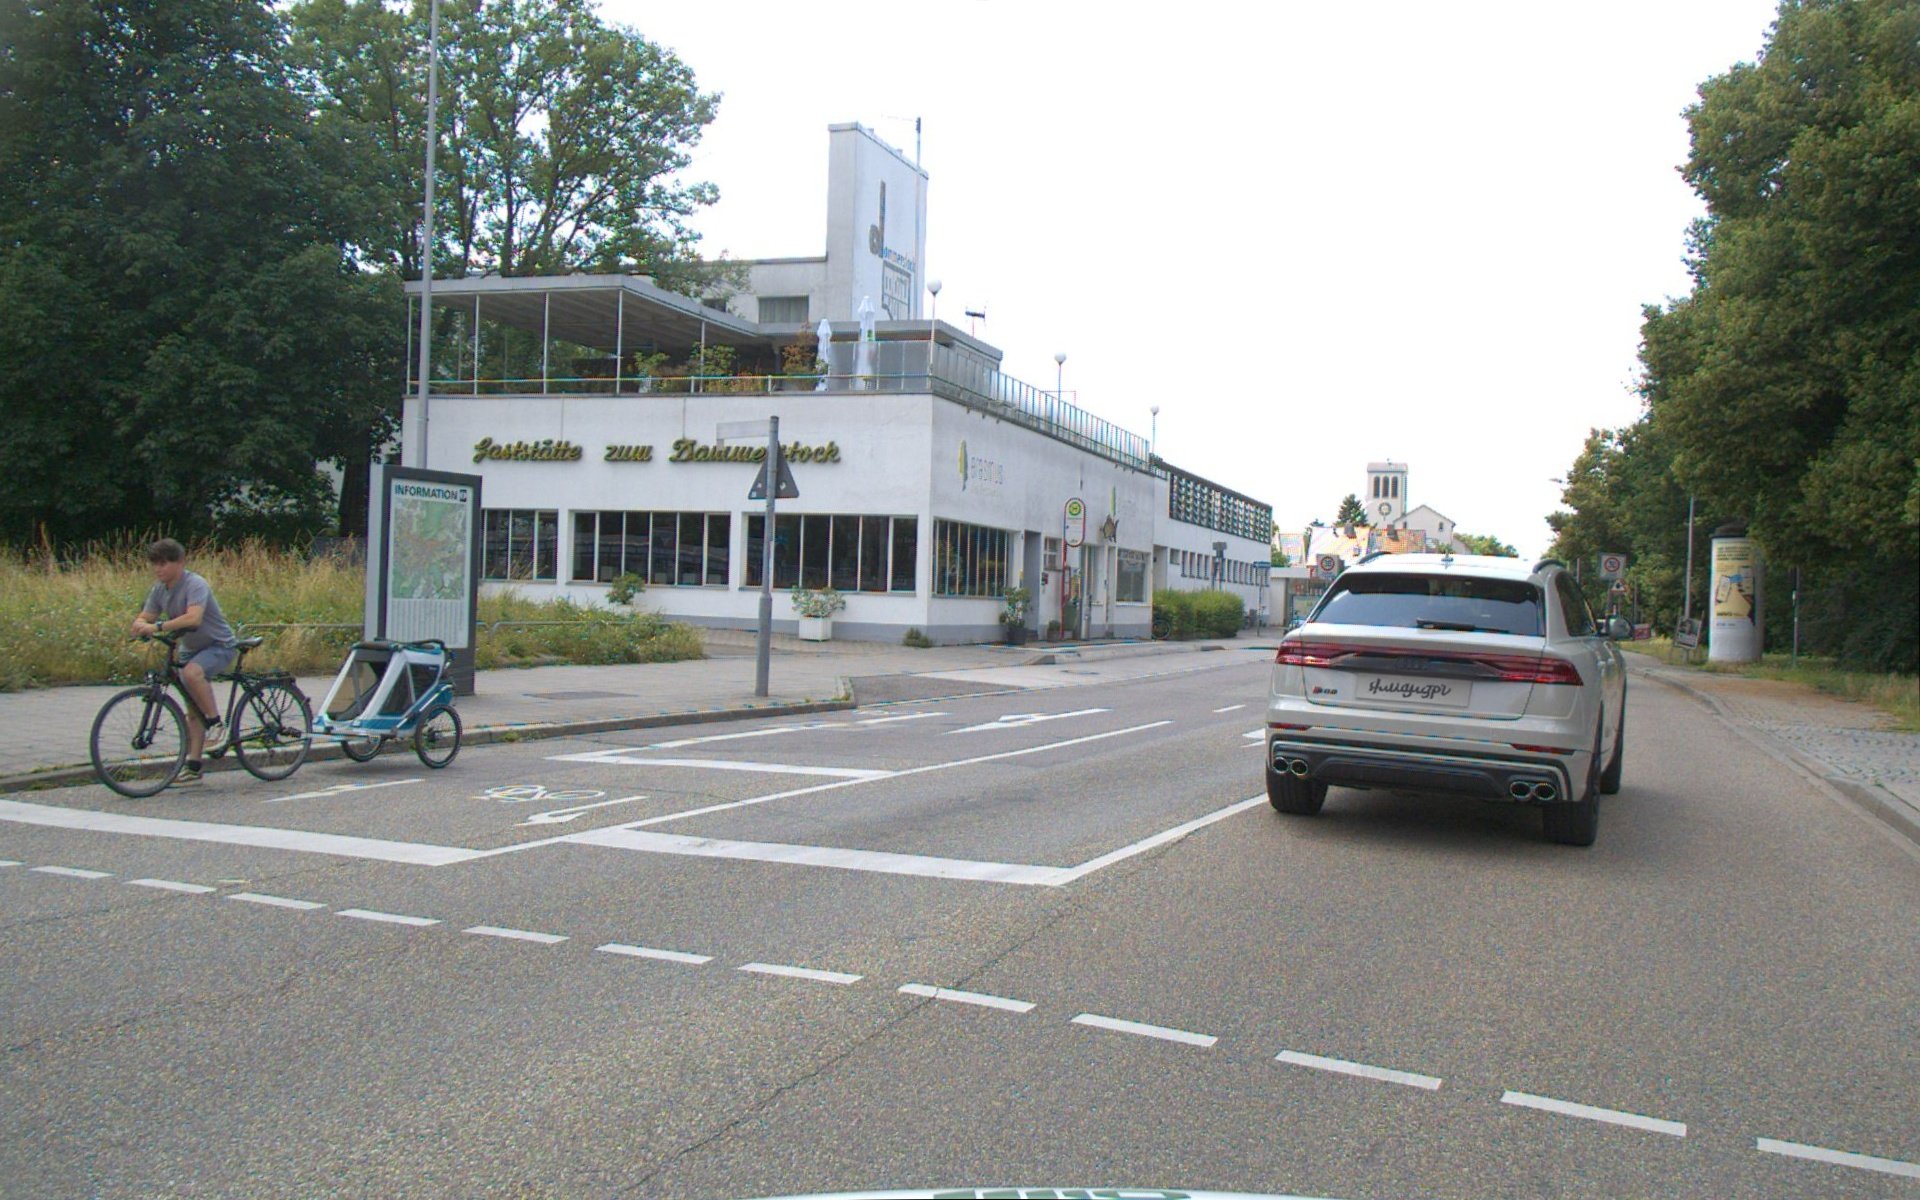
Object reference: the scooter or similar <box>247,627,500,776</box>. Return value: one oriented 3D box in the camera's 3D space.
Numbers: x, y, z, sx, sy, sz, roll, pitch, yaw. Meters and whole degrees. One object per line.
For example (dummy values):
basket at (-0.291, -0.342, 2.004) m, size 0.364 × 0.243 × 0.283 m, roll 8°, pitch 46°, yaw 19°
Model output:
scooter or similar at (-4.435, 0.732, 12.599) m, size 0.941 × 0.996 × 1.577 m, roll 2°, pitch 1°, yaw 29°

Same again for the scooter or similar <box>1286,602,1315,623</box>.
scooter or similar at (16.485, 0.613, 80.081) m, size 0.611 × 1.013 × 1.990 m, roll 2°, pitch -1°, yaw -11°

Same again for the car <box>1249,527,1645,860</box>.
car at (3.544, 0.497, 11.358) m, size 1.942 × 1.713 × 4.571 m, roll 3°, pitch 1°, yaw 24°

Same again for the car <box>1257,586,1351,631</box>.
car at (17.471, 0.443, 83.854) m, size 4.533 × 2.049 × 2.001 m, roll 2°, pitch -1°, yaw 14°

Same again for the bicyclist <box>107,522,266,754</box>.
bicyclist at (-5.228, 0.245, 11.201) m, size 0.445 × 1.501 × 0.840 m, roll 2°, pitch 0°, yaw 29°

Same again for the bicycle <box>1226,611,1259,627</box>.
bicycle at (15.569, 1.046, 91.174) m, size 1.638 × 0.770 × 0.569 m, roll 3°, pitch 0°, yaw -7°

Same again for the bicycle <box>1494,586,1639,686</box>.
bicycle at (11.476, 0.636, 31.580) m, size 1.951 × 1.704 × 4.212 m, roll 2°, pitch 0°, yaw 12°

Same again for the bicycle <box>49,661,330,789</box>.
bicycle at (-5.195, 0.817, 11.270) m, size 0.543 × 0.778 × 1.724 m, roll 2°, pitch -1°, yaw 29°

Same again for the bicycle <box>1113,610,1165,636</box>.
bicycle at (5.853, 0.749, 54.196) m, size 1.635 × 0.771 × 0.411 m, roll 2°, pitch 0°, yaw 2°
